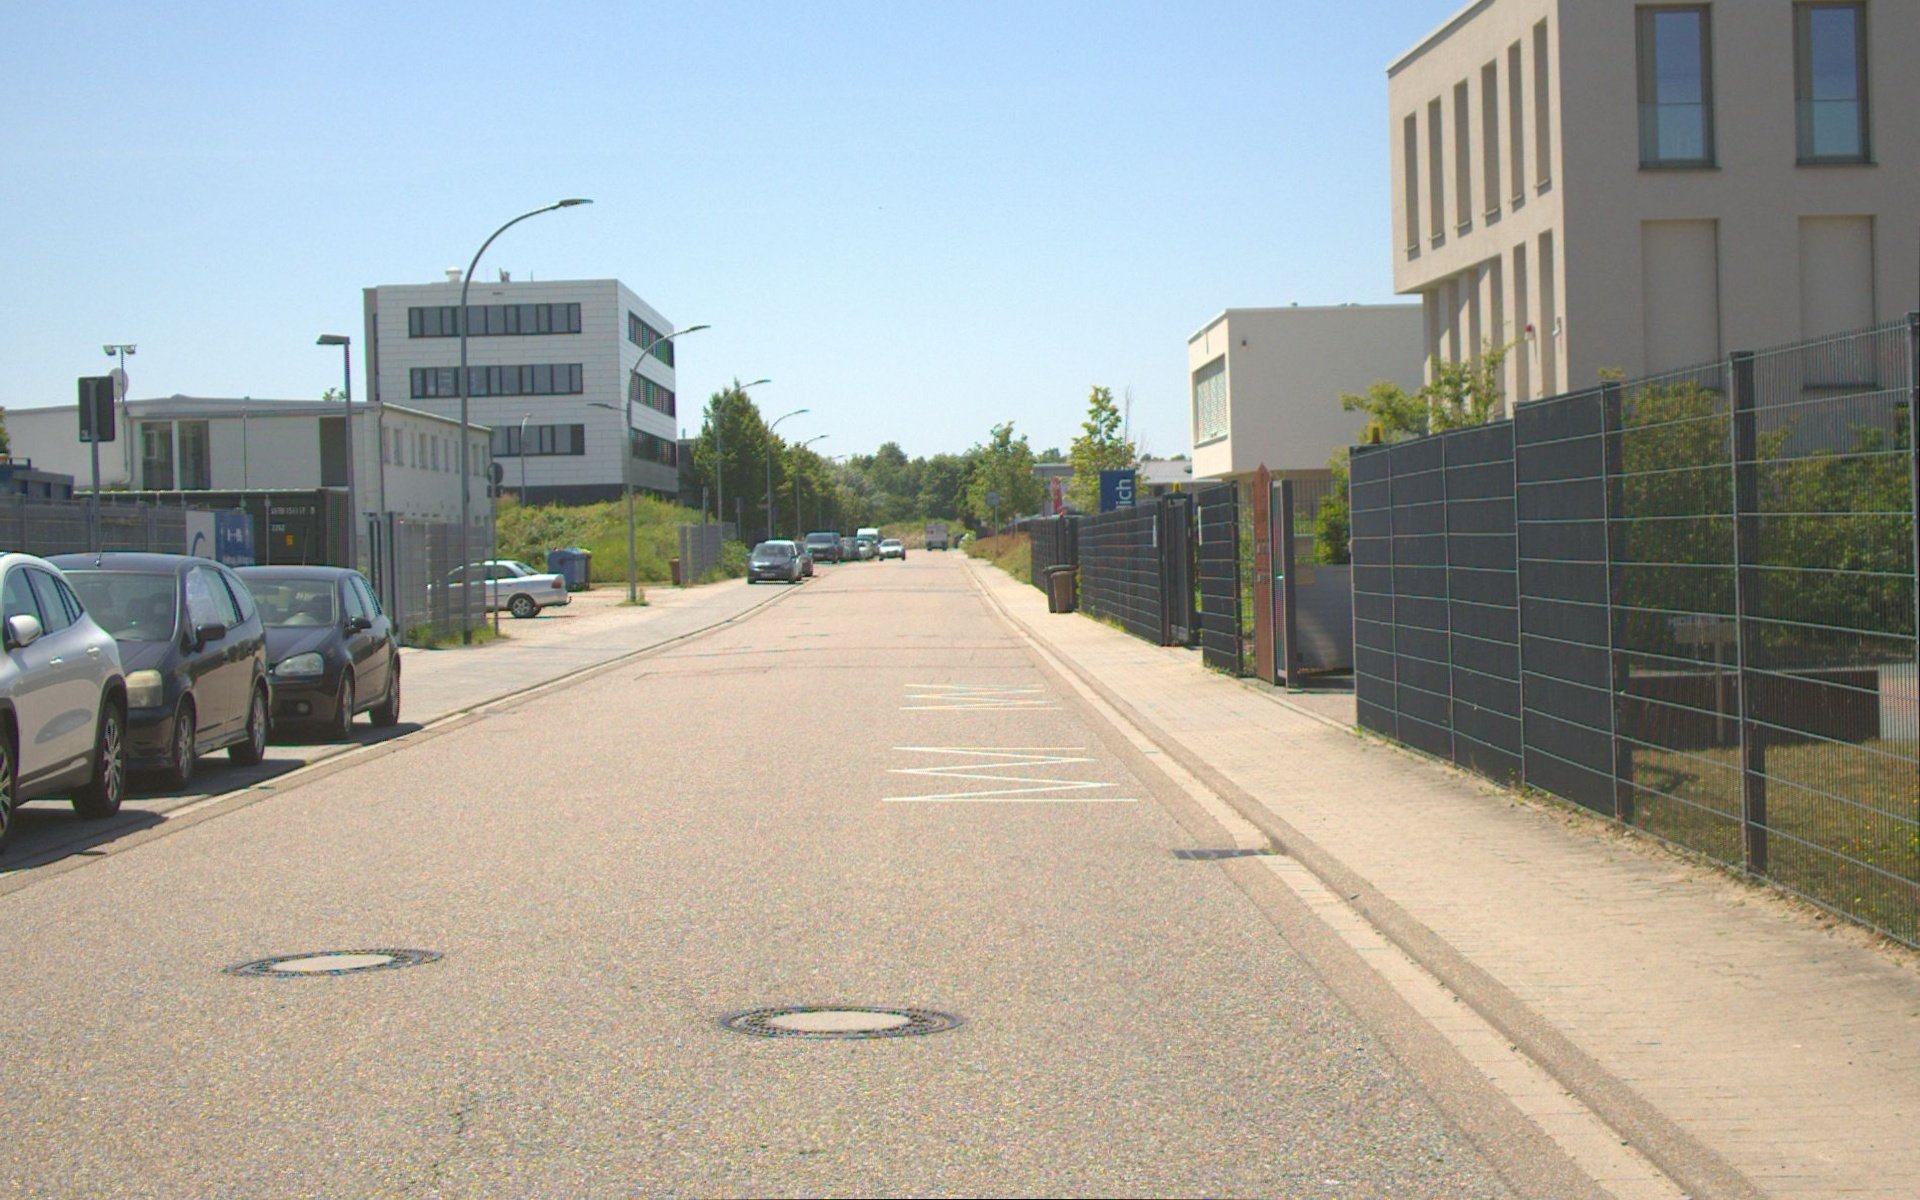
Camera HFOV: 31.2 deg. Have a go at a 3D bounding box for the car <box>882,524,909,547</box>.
[{"bbox_3d":[-4.559,-4.526,241.894,1.804,1.551,4.000,-2,1,0],"label":"car"}]

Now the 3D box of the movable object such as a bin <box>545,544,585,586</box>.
[{"bbox_3d":[-13.642,-1.221,118.705,1.285,1.407,1.807,-1,1,-4],"label":"movable object such as a bin"}]

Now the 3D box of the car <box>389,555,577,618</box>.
[{"bbox_3d":[-11.589,-0.338,83.738,4.277,1.360,1.898,-2,1,0],"label":"car"}]

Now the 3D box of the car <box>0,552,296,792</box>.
[{"bbox_3d":[-6.010,0.436,24.558,1.769,1.551,4.502,0,1,-2],"label":"car"}]

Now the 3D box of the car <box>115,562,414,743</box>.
[{"bbox_3d":[-6.006,0.408,30.174,1.769,1.456,4.333,0,1,0],"label":"car"}]

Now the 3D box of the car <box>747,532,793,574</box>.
[{"bbox_3d":[-6.888,-1.722,124.955,1.466,1.484,3.207,-1,1,0],"label":"car"}]

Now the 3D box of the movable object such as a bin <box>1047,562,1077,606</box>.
[{"bbox_3d":[2.284,-0.360,77.032,0.552,0.925,0.522,-6,2,4],"label":"movable object such as a bin"}]

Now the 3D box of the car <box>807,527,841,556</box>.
[{"bbox_3d":[-7.100,-3.085,179.927,1.644,1.484,3.207,-1,1,0],"label":"car"}]

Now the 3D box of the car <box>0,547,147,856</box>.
[{"bbox_3d":[-5.863,0.503,19.090,1.769,1.586,4.360,0,1,-2],"label":"car"}]

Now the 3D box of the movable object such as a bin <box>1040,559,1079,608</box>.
[{"bbox_3d":[2.266,-0.374,78.114,0.779,1.016,0.665,-6,2,4],"label":"movable object such as a bin"}]
